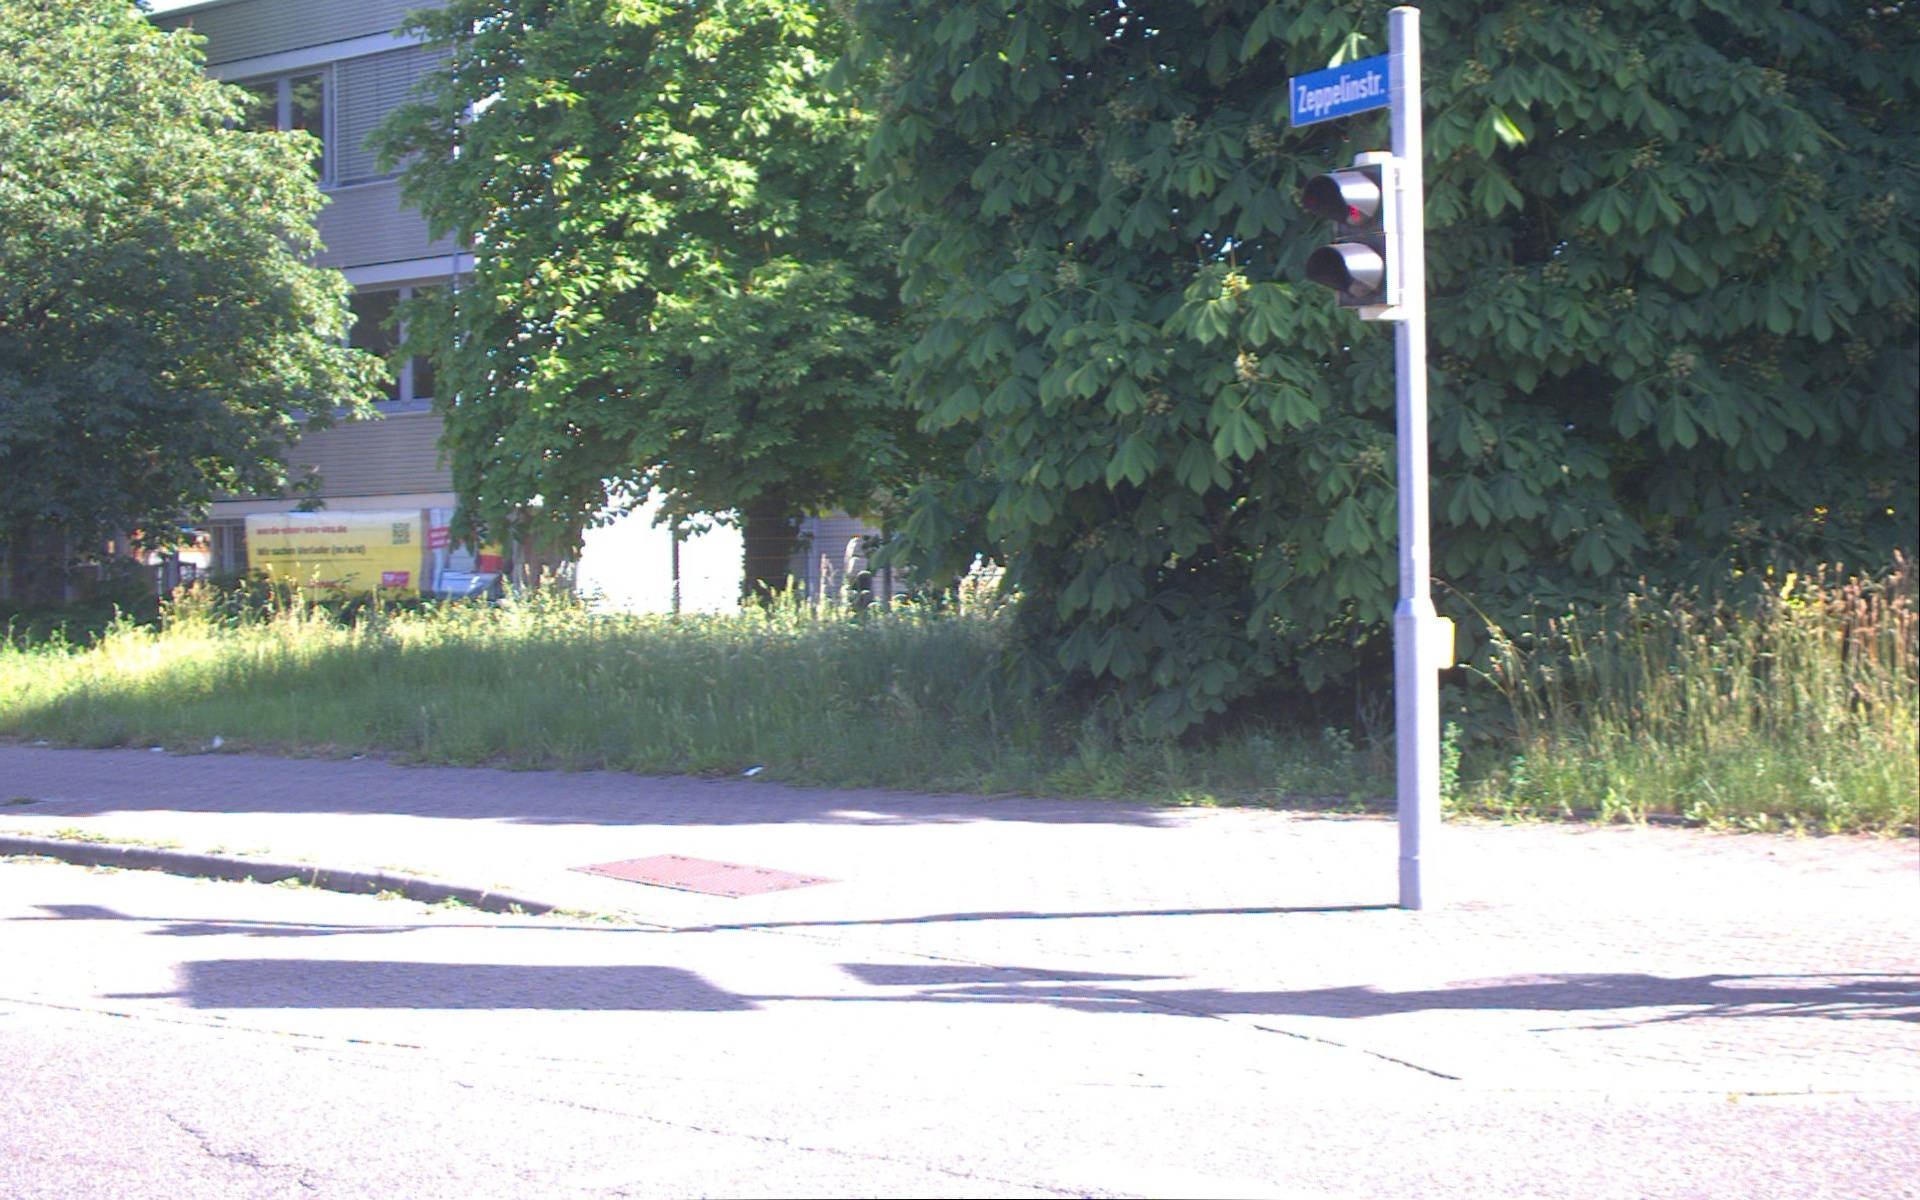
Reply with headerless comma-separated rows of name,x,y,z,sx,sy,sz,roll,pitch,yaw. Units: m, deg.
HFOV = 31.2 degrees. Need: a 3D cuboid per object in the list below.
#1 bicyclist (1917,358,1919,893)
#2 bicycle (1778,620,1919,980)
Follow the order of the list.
bicyclist,3.663,0.088,10.470,0.889,1.687,1.190,0,1,-23
bicycle,3.727,0.646,10.323,0.900,1.121,2.954,0,1,-23
